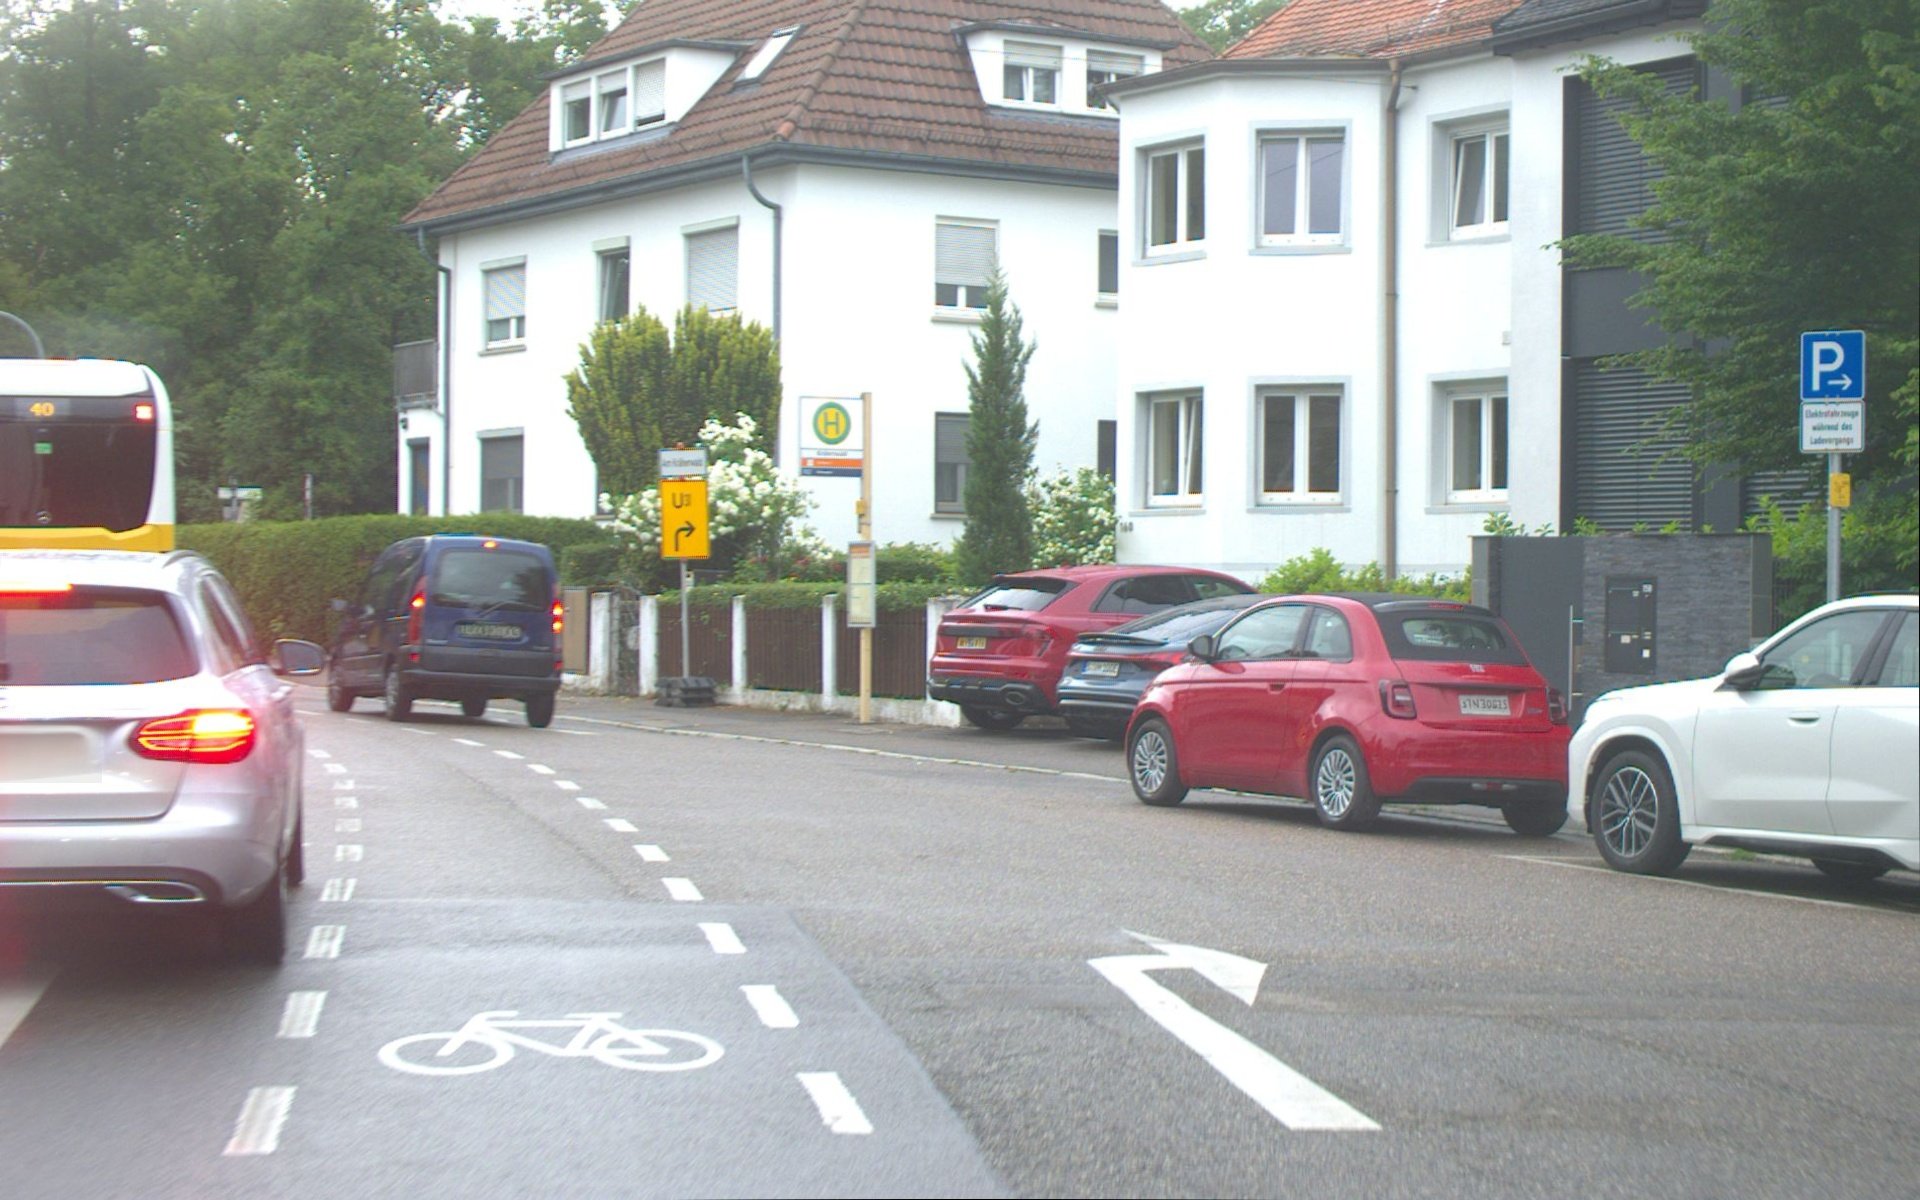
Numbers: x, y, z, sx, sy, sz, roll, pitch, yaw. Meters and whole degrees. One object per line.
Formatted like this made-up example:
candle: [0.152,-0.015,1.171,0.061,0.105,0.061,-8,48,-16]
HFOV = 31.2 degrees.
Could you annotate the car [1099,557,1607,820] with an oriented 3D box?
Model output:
car: [2.537,0.547,22.962,1.611,1.532,3.541,3,0,-27]

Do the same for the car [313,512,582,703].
car: [-5.244,0.067,34.781,1.808,1.791,4.001,1,0,-21]

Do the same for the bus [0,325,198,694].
bus: [-10.331,-0.939,35.679,2.676,3.386,8.682,1,1,-26]

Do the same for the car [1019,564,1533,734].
car: [2.981,0.403,32.036,4.548,1.411,2.000,-1,2,-35]

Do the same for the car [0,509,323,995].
car: [-3.414,0.418,12.873,1.993,1.474,4.487,1,2,-10]

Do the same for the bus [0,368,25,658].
bus: [-14.385,-1.141,43.645,2.899,3.386,9.042,1,1,-28]

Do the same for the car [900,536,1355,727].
car: [1.664,0.259,33.842,4.073,1.744,2.000,-1,2,-34]

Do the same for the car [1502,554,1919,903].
car: [5.071,0.669,18.213,1.744,1.667,4.648,3,0,-30]
